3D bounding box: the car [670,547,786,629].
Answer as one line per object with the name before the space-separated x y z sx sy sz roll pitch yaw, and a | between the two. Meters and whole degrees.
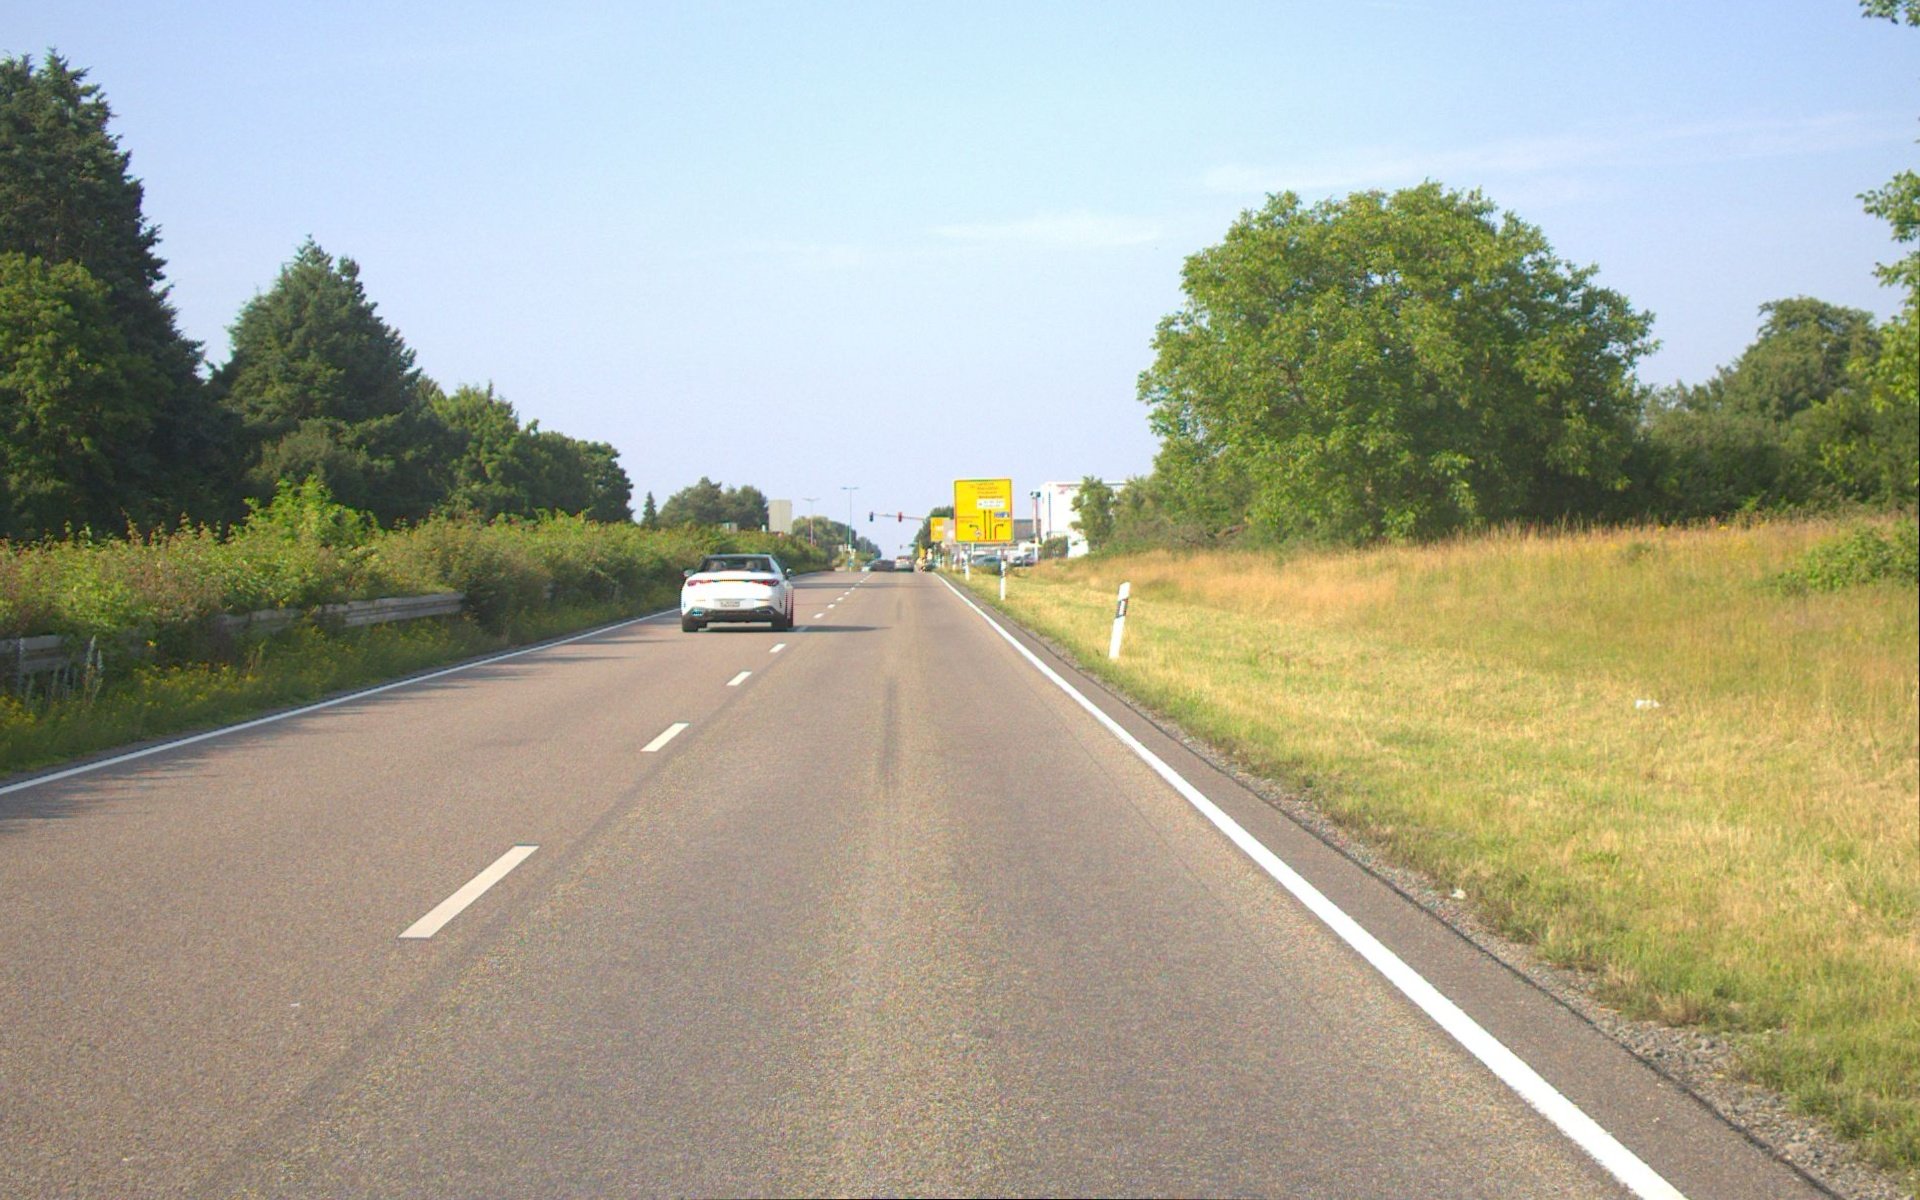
car | -4.120 -0.234 61.533 1.909 1.417 4.000 0 1 -1
